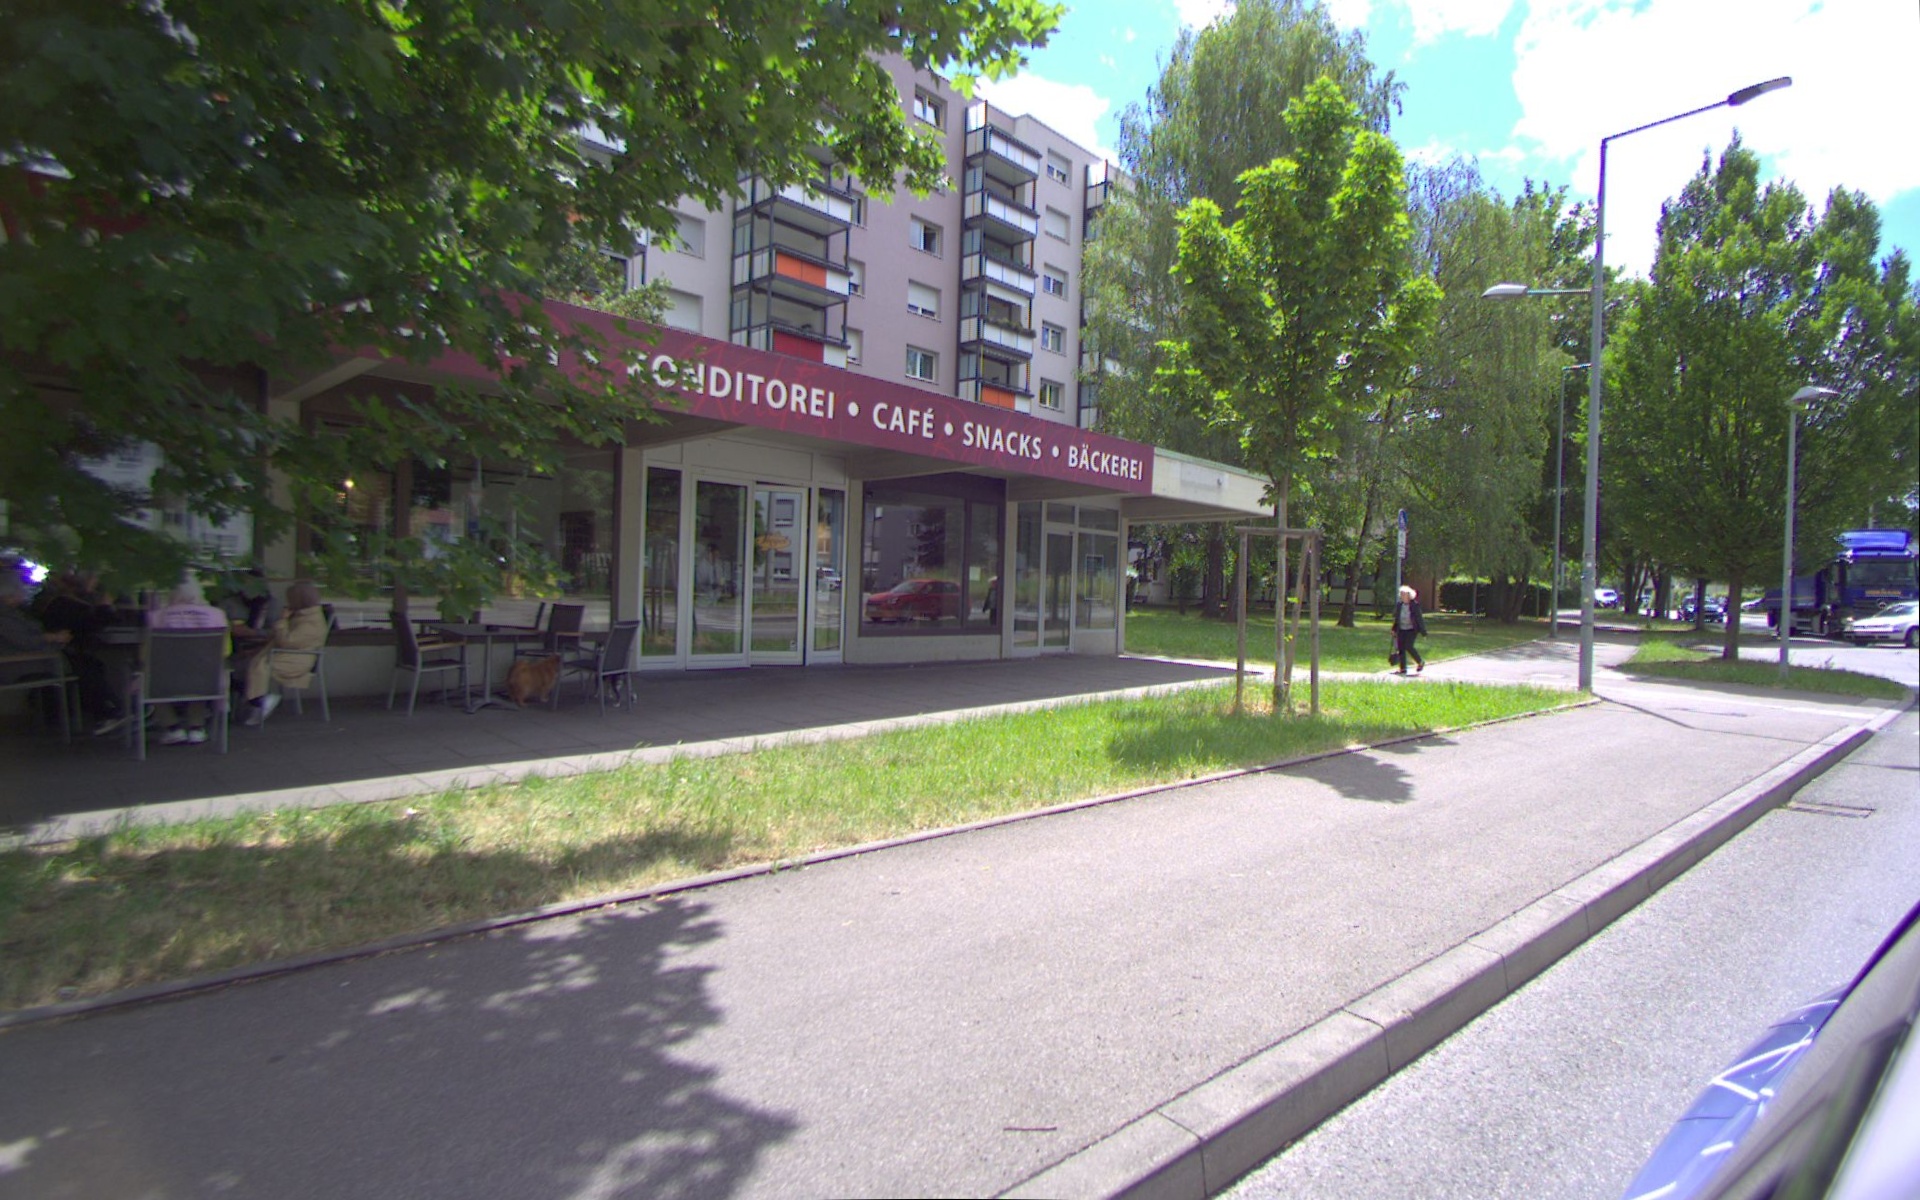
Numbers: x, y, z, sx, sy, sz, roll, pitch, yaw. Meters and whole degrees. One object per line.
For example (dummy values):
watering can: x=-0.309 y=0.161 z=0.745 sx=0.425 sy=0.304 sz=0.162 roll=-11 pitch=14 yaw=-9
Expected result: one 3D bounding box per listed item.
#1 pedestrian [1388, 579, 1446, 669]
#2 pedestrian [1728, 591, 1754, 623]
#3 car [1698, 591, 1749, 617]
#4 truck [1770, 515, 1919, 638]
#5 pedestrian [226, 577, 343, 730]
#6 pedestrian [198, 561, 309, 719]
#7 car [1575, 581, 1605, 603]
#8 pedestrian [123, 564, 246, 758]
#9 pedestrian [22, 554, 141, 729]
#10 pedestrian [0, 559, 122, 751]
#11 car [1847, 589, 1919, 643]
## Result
pedestrian: x=8.172 y=0.414 z=18.104 sx=0.643 sy=1.557 sz=0.725 roll=0 pitch=1 yaw=-42
pedestrian: x=35.422 y=0.314 z=45.903 sx=0.904 sy=1.442 sz=0.692 roll=0 pitch=1 yaw=-35
car: x=42.956 y=0.202 z=56.996 sx=1.795 sy=1.371 sz=3.957 roll=2 pitch=2 yaw=31
truck: x=34.090 y=-0.882 z=38.875 sx=2.606 sy=4.144 sz=9.521 roll=2 pitch=1 yaw=27
pedestrian: x=-5.576 y=0.406 z=8.354 sx=0.672 sy=1.165 sz=0.667 roll=5 pitch=4 yaw=42
pedestrian: x=-6.169 y=0.315 z=8.835 sx=0.672 sy=1.282 sz=0.667 roll=5 pitch=4 yaw=42
car: x=59.808 y=-0.767 z=96.130 sx=1.981 sy=2.038 sz=3.963 roll=2 pitch=1 yaw=27
pedestrian: x=-5.544 y=0.400 z=7.273 sx=0.661 sy=1.282 sz=0.678 roll=0 pitch=3 yaw=-34
pedestrian: x=-6.961 y=0.296 z=8.021 sx=0.676 sy=1.282 sz=0.663 roll=5 pitch=4 yaw=44
pedestrian: x=-6.616 y=0.363 z=7.285 sx=0.672 sy=1.282 sz=0.814 roll=5 pitch=4 yaw=42
car: x=29.636 y=0.488 z=30.954 sx=3.746 sy=1.542 sz=1.765 roll=1 pitch=1 yaw=-10
